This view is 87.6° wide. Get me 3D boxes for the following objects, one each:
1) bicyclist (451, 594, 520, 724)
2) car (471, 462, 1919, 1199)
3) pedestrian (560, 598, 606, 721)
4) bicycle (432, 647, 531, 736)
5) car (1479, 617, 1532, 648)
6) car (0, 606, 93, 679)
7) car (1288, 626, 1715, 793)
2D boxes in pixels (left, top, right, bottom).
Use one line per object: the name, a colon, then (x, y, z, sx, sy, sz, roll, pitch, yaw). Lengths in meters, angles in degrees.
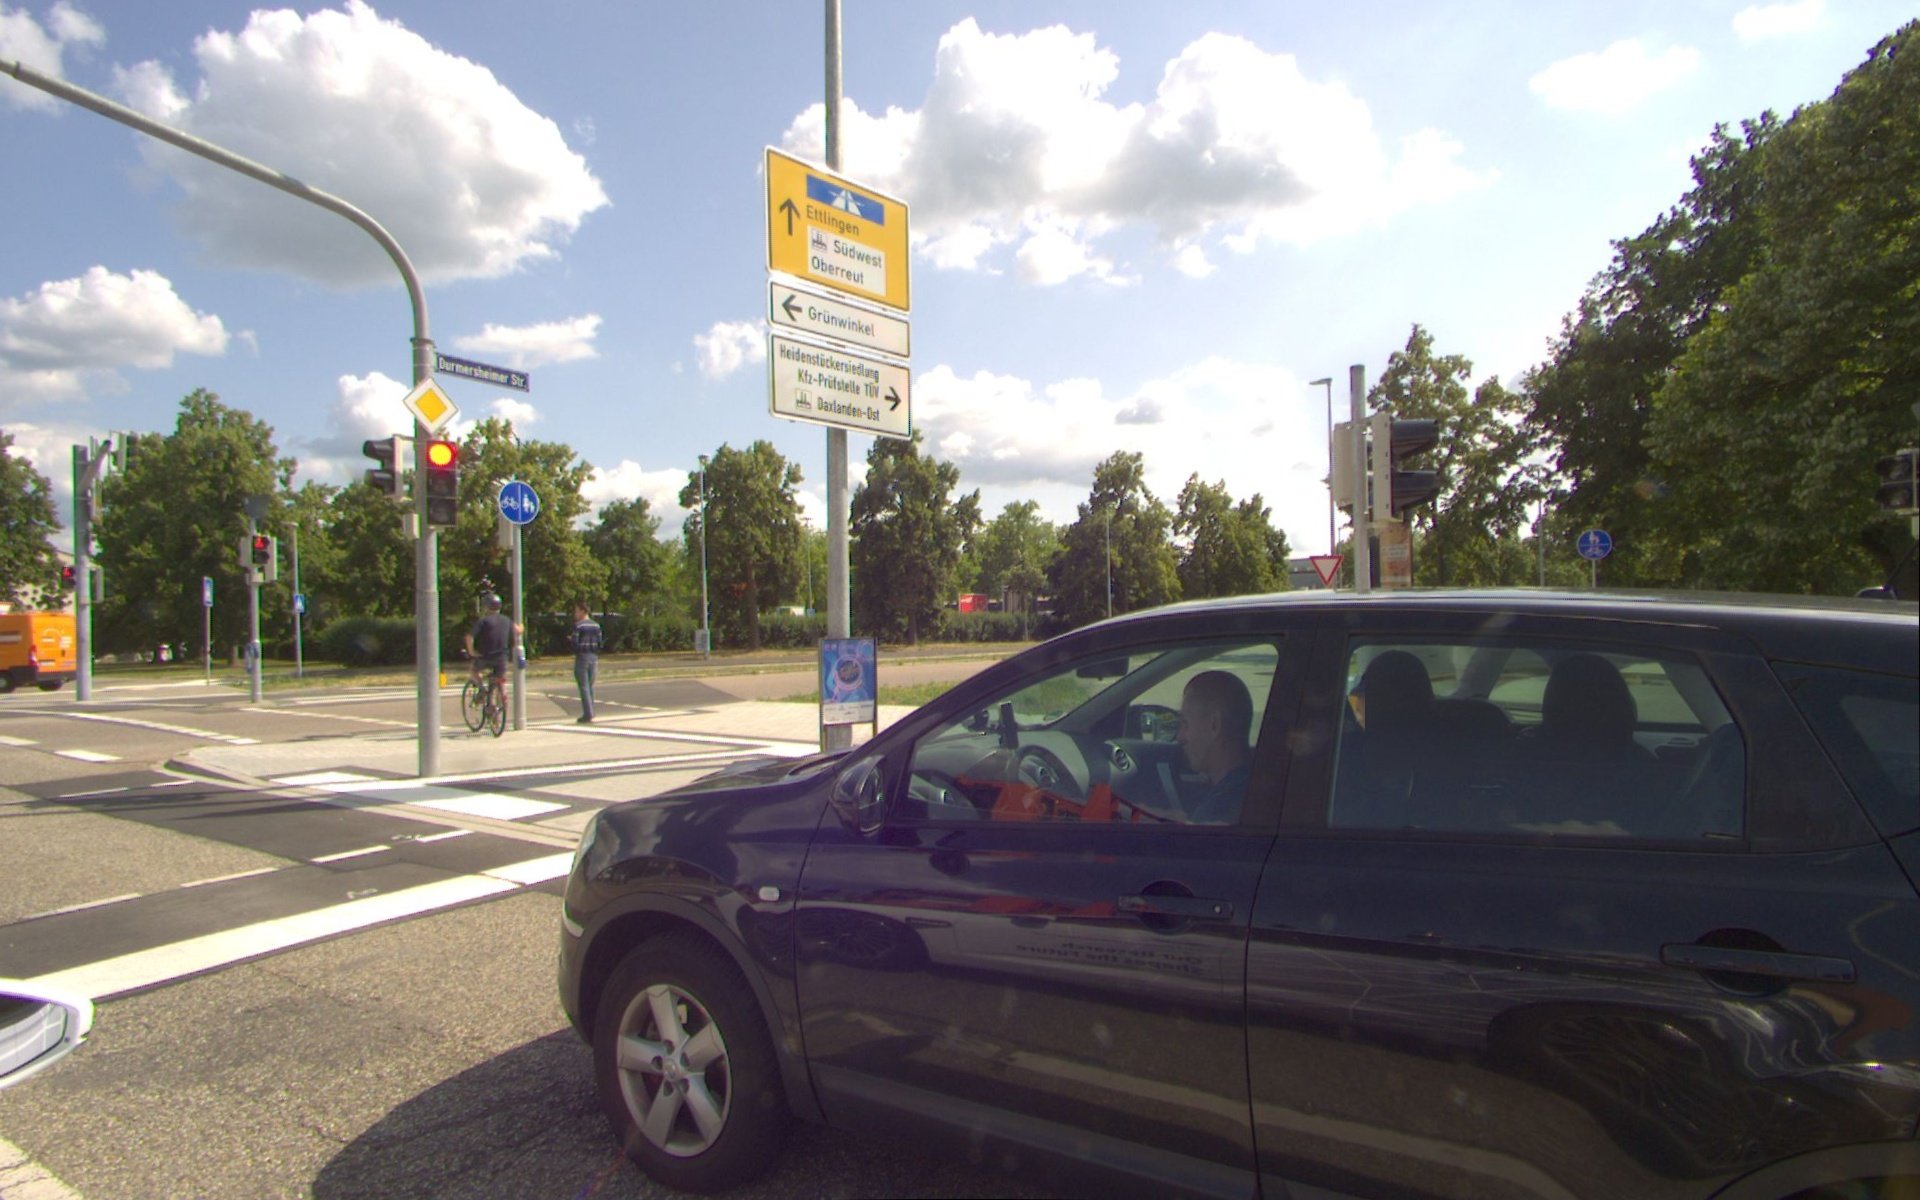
bicyclist: (-6.372, 0.791, 13.455, 0.644, 1.682, 0.644, 2, -4, -44)
car: (0.705, 0.682, 2.744, 3.941, 1.571, 1.798, -2, -4, 31)
pedestrian: (-5.669, 0.896, 15.068, 0.477, 1.800, 0.462, -2, -3, 42)
bicycle: (-6.506, 1.215, 13.578, 0.644, 1.121, 1.910, 3, -4, -43)
car: (23.136, 1.401, 42.566, 1.886, 1.192, 3.767, -2, -4, 27)
car: (-30.889, 1.366, 31.704, 4.766, 2.253, 2.213, 0, -3, -5)
car: (5.767, 1.047, 11.277, 1.710, 1.505, 4.080, 1, -1, -22)
